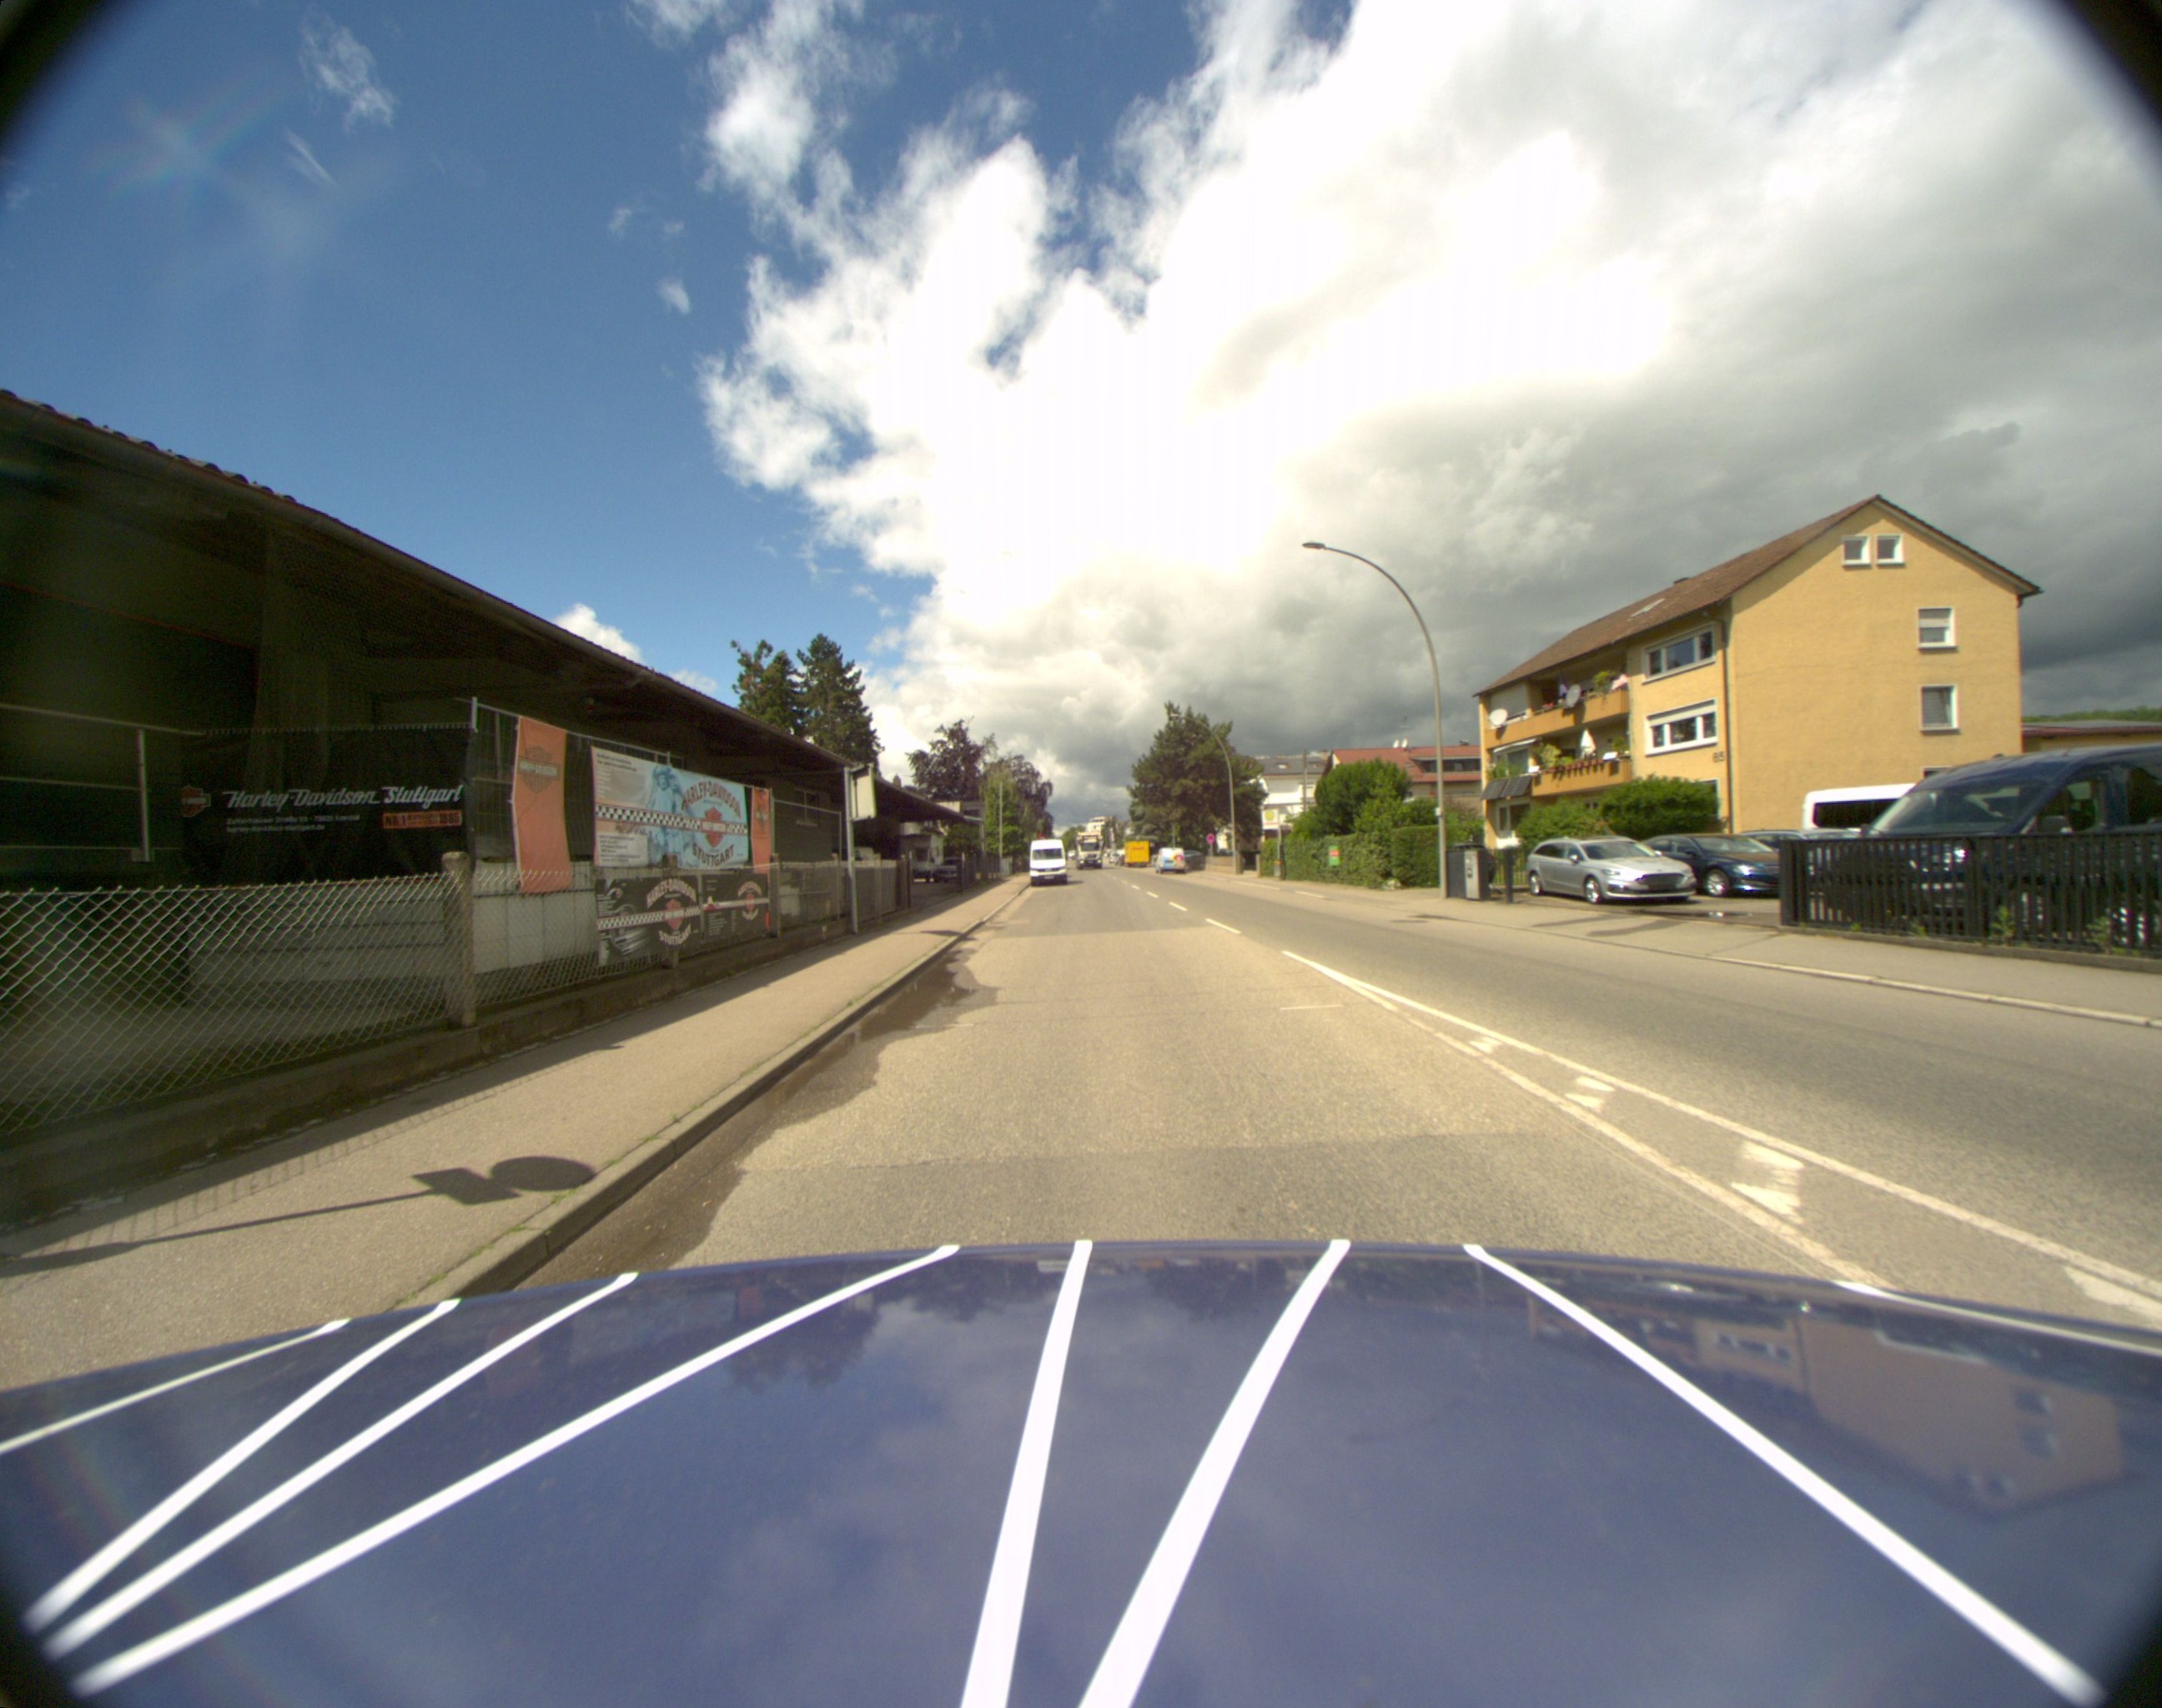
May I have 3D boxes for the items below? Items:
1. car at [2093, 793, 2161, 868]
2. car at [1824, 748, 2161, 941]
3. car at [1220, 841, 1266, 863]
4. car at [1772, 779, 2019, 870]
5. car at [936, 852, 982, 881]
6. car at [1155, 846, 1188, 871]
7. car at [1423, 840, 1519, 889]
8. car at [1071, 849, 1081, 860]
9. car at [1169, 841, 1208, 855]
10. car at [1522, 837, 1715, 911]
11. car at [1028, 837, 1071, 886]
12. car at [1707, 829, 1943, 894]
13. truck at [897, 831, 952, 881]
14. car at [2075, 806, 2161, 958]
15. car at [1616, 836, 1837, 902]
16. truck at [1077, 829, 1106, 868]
[{"bbox_3d":[28.712,-0.624,18.812,1.998,1.915,3.999,-2,1,1],"label":"car"},{"bbox_3d":[14.222,-0.185,10.670,5.363,2.371,2.104,-2,1,2],"label":"car"},{"bbox_3d":[15.294,-0.153,71.841,2.003,2.002,3.990,-3,1,-32],"label":"car"},{"bbox_3d":[20.430,-0.690,19.356,1.998,2.002,3.999,-2,1,1],"label":"car"},{"bbox_3d":[-7.140,0.716,44.828,1.863,1.521,5.202,-2,1,0],"label":"car"},{"bbox_3d":[6.535,0.307,55.183,1.730,1.671,3.999,-2,1,-2],"label":"car"},{"bbox_3d":[14.627,0.356,28.726,1.831,1.656,3.522,-2,1,1],"label":"car"},{"bbox_3d":[-1.215,0.071,180.298,2.091,2.310,5.202,-2,1,1],"label":"car"},{"bbox_3d":[14.169,-0.752,99.985,4.735,1.669,2.218,-2,1,-1],"label":"car"},{"bbox_3d":[12.338,0.390,17.847,1.887,1.450,4.352,-3,1,8],"label":"car"},{"bbox_3d":[-1.704,0.358,43.184,2.091,2.519,5.202,-2,1,1],"label":"car"},{"bbox_3d":[17.910,0.144,18.607,1.883,1.364,3.999,-2,1,1],"label":"car"},{"bbox_3d":[-9.474,0.084,46.391,2.091,2.812,5.202,-2,1,1],"label":"truck"},{"bbox_3d":[12.380,0.279,6.963,1.813,1.612,3.621,-2,1,1],"label":"car"},{"bbox_3d":[15.101,0.298,18.118,1.885,1.334,3.999,-2,1,1],"label":"car"},{"bbox_3d":[1.091,-0.583,79.494,2.664,3.789,9.814,-2,1,1],"label":"truck"}]
